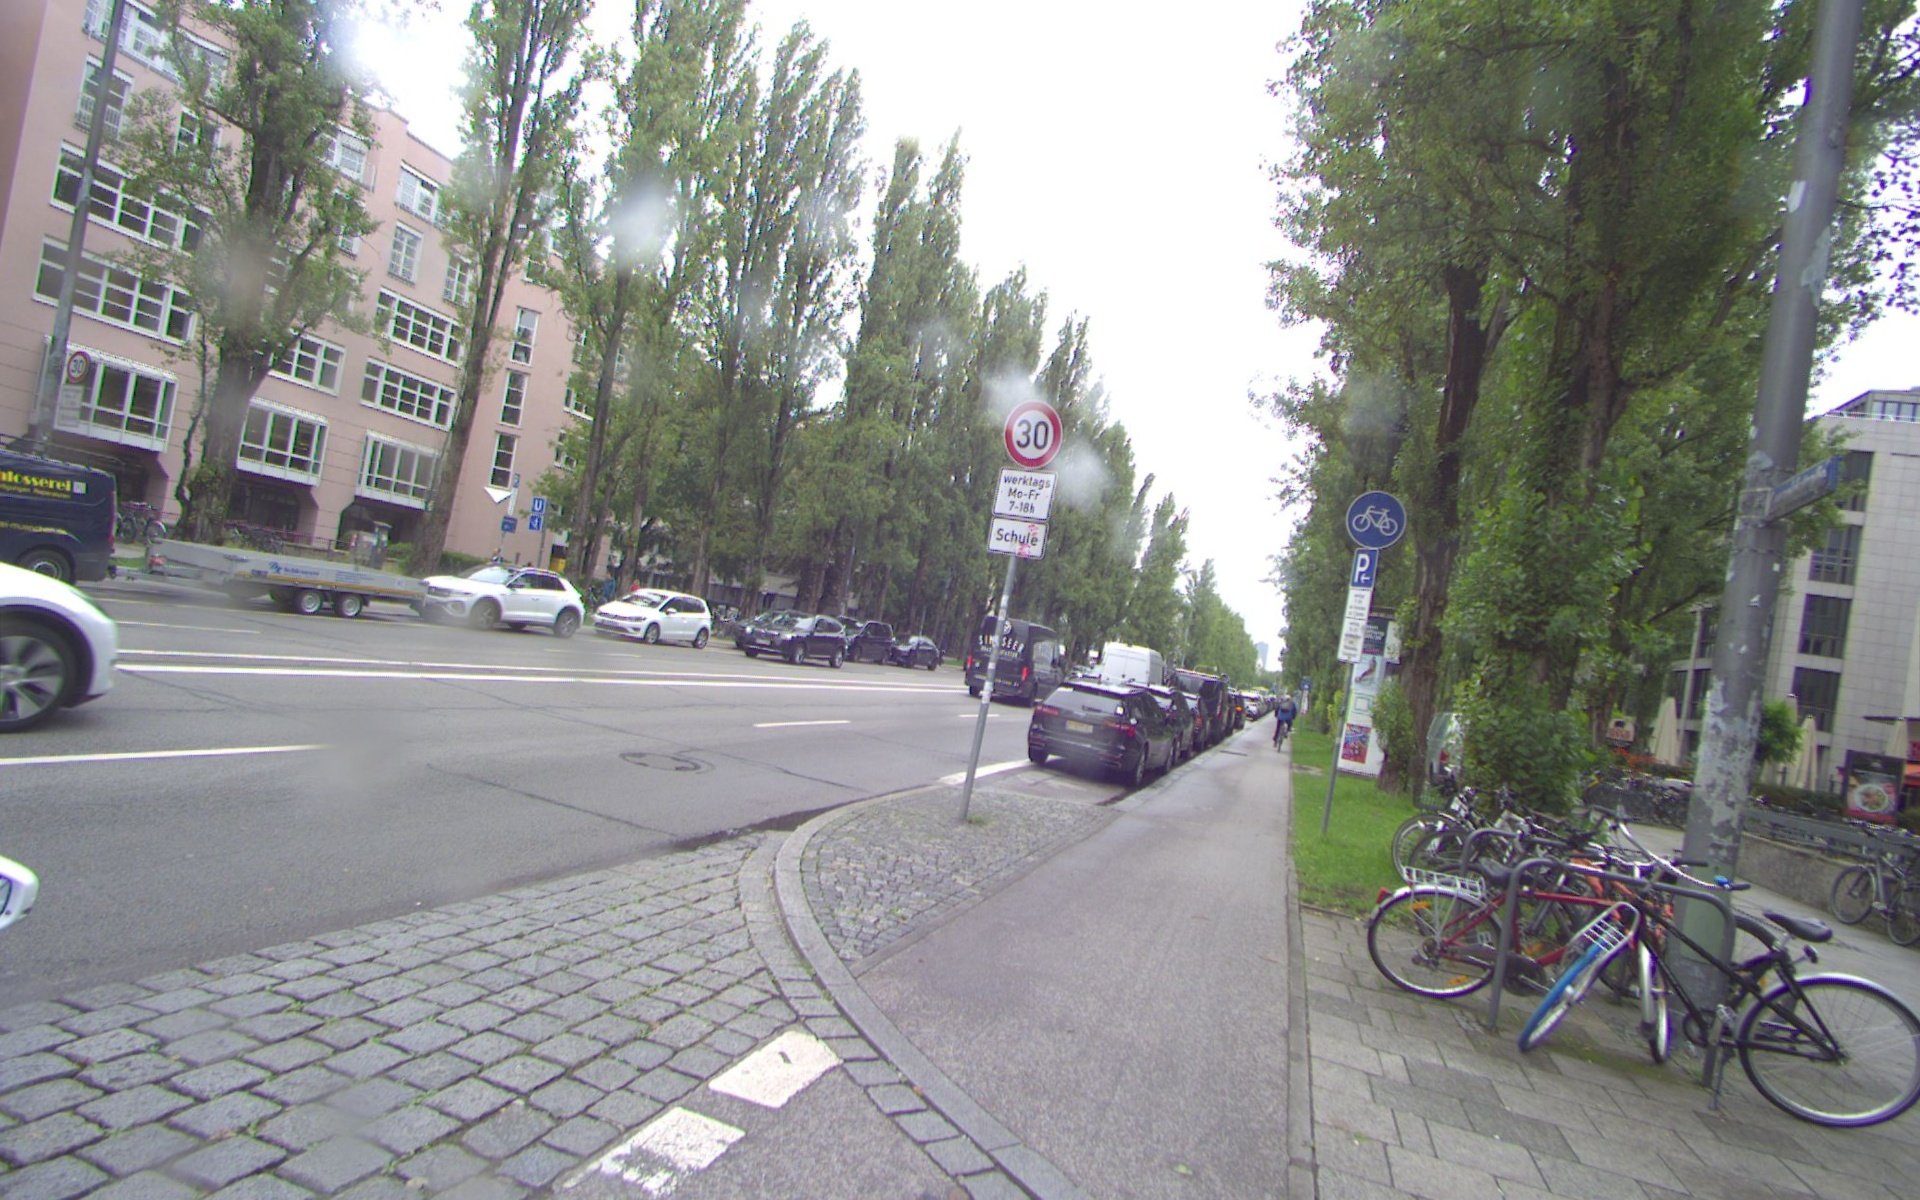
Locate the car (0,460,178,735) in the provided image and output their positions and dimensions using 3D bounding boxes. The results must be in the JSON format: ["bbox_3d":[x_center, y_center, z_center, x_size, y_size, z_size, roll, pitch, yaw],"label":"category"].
[{"bbox_3d":[-7.034,-0.283,4.884,1.963,1.592,4.644,11,-2,18],"label":"car"}]

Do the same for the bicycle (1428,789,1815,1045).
[{"bbox_3d":[4.015,1.903,6.262,1.841,1.062,0.476,8,-1,20],"label":"bicycle"}]

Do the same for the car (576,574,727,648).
[{"bbox_3d":[-9.014,0.395,29.846,1.963,1.559,4.330,9,-2,18],"label":"car"}]

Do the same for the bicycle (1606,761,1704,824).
[{"bbox_3d":[17.810,4.920,25.831,1.835,1.173,0.588,10,0,21],"label":"bicycle"}]

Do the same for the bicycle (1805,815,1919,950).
[{"bbox_3d":[10.708,3.239,11.526,0.577,1.172,1.872,9,-2,10],"label":"bicycle"}]

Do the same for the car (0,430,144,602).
[{"bbox_3d":[-14.540,-1.475,13.208,1.986,2.221,5.504,9,-2,19],"label":"car"}]

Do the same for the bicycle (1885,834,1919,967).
[{"bbox_3d":[9.420,2.918,9.422,0.578,1.172,1.869,9,-2,30],"label":"bicycle"}]

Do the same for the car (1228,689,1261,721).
[{"bbox_3d":[18.331,6.738,64.828,1.716,1.660,3.957,11,-2,17],"label":"car"}]

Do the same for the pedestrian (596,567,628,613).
[{"bbox_3d":[-14.348,-0.398,41.504,0.696,1.733,0.732,9,-1,20],"label":"pedestrian"}]

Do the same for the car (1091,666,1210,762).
[{"bbox_3d":[4.175,2.413,21.572,1.716,1.543,3.913,11,-2,20],"label":"car"}]

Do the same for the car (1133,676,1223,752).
[{"bbox_3d":[5.919,3.002,26.946,1.716,1.543,4.241,11,-2,18],"label":"car"}]

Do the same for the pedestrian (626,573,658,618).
[{"bbox_3d":[-13.329,-0.166,42.197,0.696,1.733,0.732,9,-1,20],"label":"pedestrian"}]

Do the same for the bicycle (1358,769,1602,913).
[{"bbox_3d":[4.579,2.111,8.981,1.800,0.827,0.472,8,-1,24],"label":"bicycle"}]

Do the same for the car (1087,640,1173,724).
[{"bbox_3d":[6.792,3.221,39.454,2.009,2.681,6.048,11,-1,19],"label":"car"}]

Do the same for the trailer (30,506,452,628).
[{"bbox_3d":[-12.834,-0.461,18.677,2.360,1.212,6.046,9,-2,20],"label":"trailer"}]

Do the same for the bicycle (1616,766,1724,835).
[{"bbox_3d":[16.655,4.682,23.647,1.835,1.173,0.588,9,-1,21],"label":"bicycle"}]

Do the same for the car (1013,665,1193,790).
[{"bbox_3d":[2.510,2.052,16.586,1.724,1.442,4.453,11,-2,22],"label":"car"}]

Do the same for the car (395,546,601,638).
[{"bbox_3d":[-10.736,-0.105,23.742,1.773,1.559,4.238,8,-2,21],"label":"car"}]

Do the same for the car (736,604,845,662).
[{"bbox_3d":[-6.195,1.273,37.327,1.963,1.559,4.330,9,-2,20],"label":"car"}]

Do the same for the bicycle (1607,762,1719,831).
[{"bbox_3d":[16.951,4.728,24.311,1.994,1.173,0.588,9,-1,21],"label":"bicycle"}]

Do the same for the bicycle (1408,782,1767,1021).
[{"bbox_3d":[4.048,1.922,6.640,1.841,1.062,0.476,8,-1,20],"label":"bicycle"}]

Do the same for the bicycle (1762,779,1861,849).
[{"bbox_3d":[19.174,4.806,22.712,0.577,1.173,1.871,9,-1,5],"label":"bicycle"}]

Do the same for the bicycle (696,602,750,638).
[{"bbox_3d":[-9.683,0.820,41.119,1.952,1.137,0.677,9,-1,19],"label":"bicycle"}]

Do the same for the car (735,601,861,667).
[{"bbox_3d":[-5.188,1.174,32.896,1.963,1.661,4.556,8,-2,19],"label":"car"}]

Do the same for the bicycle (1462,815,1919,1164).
[{"bbox_3d":[3.421,1.725,4.582,1.841,1.062,0.476,9,-1,13],"label":"bicycle"}]

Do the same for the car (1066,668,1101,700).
[{"bbox_3d":[8.094,5.475,65.835,1.962,1.735,4.767,8,-2,8],"label":"car"}]

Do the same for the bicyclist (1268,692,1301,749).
[{"bbox_3d":[10.011,3.703,31.038,0.711,1.638,0.757,8,-1,22],"label":"bicyclist"}]

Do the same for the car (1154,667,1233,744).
[{"bbox_3d":[7.680,3.401,32.750,1.881,1.945,5.047,11,-2,17],"label":"car"}]

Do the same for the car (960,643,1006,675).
[{"bbox_3d":[1.471,3.632,62.084,1.912,1.597,3.613,9,-1,14],"label":"car"}]

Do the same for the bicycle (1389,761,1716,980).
[{"bbox_3d":[4.297,1.942,7.445,1.895,1.117,0.514,9,-1,18],"label":"bicycle"}]

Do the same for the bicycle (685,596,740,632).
[{"bbox_3d":[-9.937,0.562,40.362,1.952,1.137,0.677,9,-1,19],"label":"bicycle"}]

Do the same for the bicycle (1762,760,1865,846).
[{"bbox_3d":[14.582,3.441,17.251,0.577,1.172,1.872,9,-2,19],"label":"bicycle"}]

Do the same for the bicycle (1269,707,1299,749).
[{"bbox_3d":[10.040,3.944,31.117,0.706,1.160,1.903,6,-4,20],"label":"bicycle"}]

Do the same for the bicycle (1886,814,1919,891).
[{"bbox_3d":[16.210,4.266,16.580,0.577,1.172,1.872,9,-2,19],"label":"bicycle"}]

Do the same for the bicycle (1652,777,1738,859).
[{"bbox_3d":[13.453,3.967,18.478,0.577,1.172,1.987,9,-2,19],"label":"bicycle"}]

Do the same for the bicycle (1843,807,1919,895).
[{"bbox_3d":[15.649,4.184,16.793,0.577,1.172,1.872,9,-2,19],"label":"bicycle"}]

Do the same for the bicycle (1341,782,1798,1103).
[{"bbox_3d":[3.054,1.696,5.241,1.842,1.062,0.476,10,-1,20],"label":"bicycle"}]

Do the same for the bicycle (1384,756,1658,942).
[{"bbox_3d":[4.521,1.986,8.254,1.800,1.050,0.513,8,-1,24],"label":"bicycle"}]

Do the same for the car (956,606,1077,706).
[{"bbox_3d":[1.968,1.896,32.377,2.044,2.584,5.940,11,-1,18],"label":"car"}]

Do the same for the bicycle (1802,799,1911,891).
[{"bbox_3d":[15.093,4.093,16.993,0.577,1.172,1.872,9,-2,19],"label":"bicycle"}]

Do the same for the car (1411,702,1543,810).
[{"bbox_3d":[12.041,3.604,23.778,1.781,1.915,5.214,10,-4,20],"label":"car"}]
